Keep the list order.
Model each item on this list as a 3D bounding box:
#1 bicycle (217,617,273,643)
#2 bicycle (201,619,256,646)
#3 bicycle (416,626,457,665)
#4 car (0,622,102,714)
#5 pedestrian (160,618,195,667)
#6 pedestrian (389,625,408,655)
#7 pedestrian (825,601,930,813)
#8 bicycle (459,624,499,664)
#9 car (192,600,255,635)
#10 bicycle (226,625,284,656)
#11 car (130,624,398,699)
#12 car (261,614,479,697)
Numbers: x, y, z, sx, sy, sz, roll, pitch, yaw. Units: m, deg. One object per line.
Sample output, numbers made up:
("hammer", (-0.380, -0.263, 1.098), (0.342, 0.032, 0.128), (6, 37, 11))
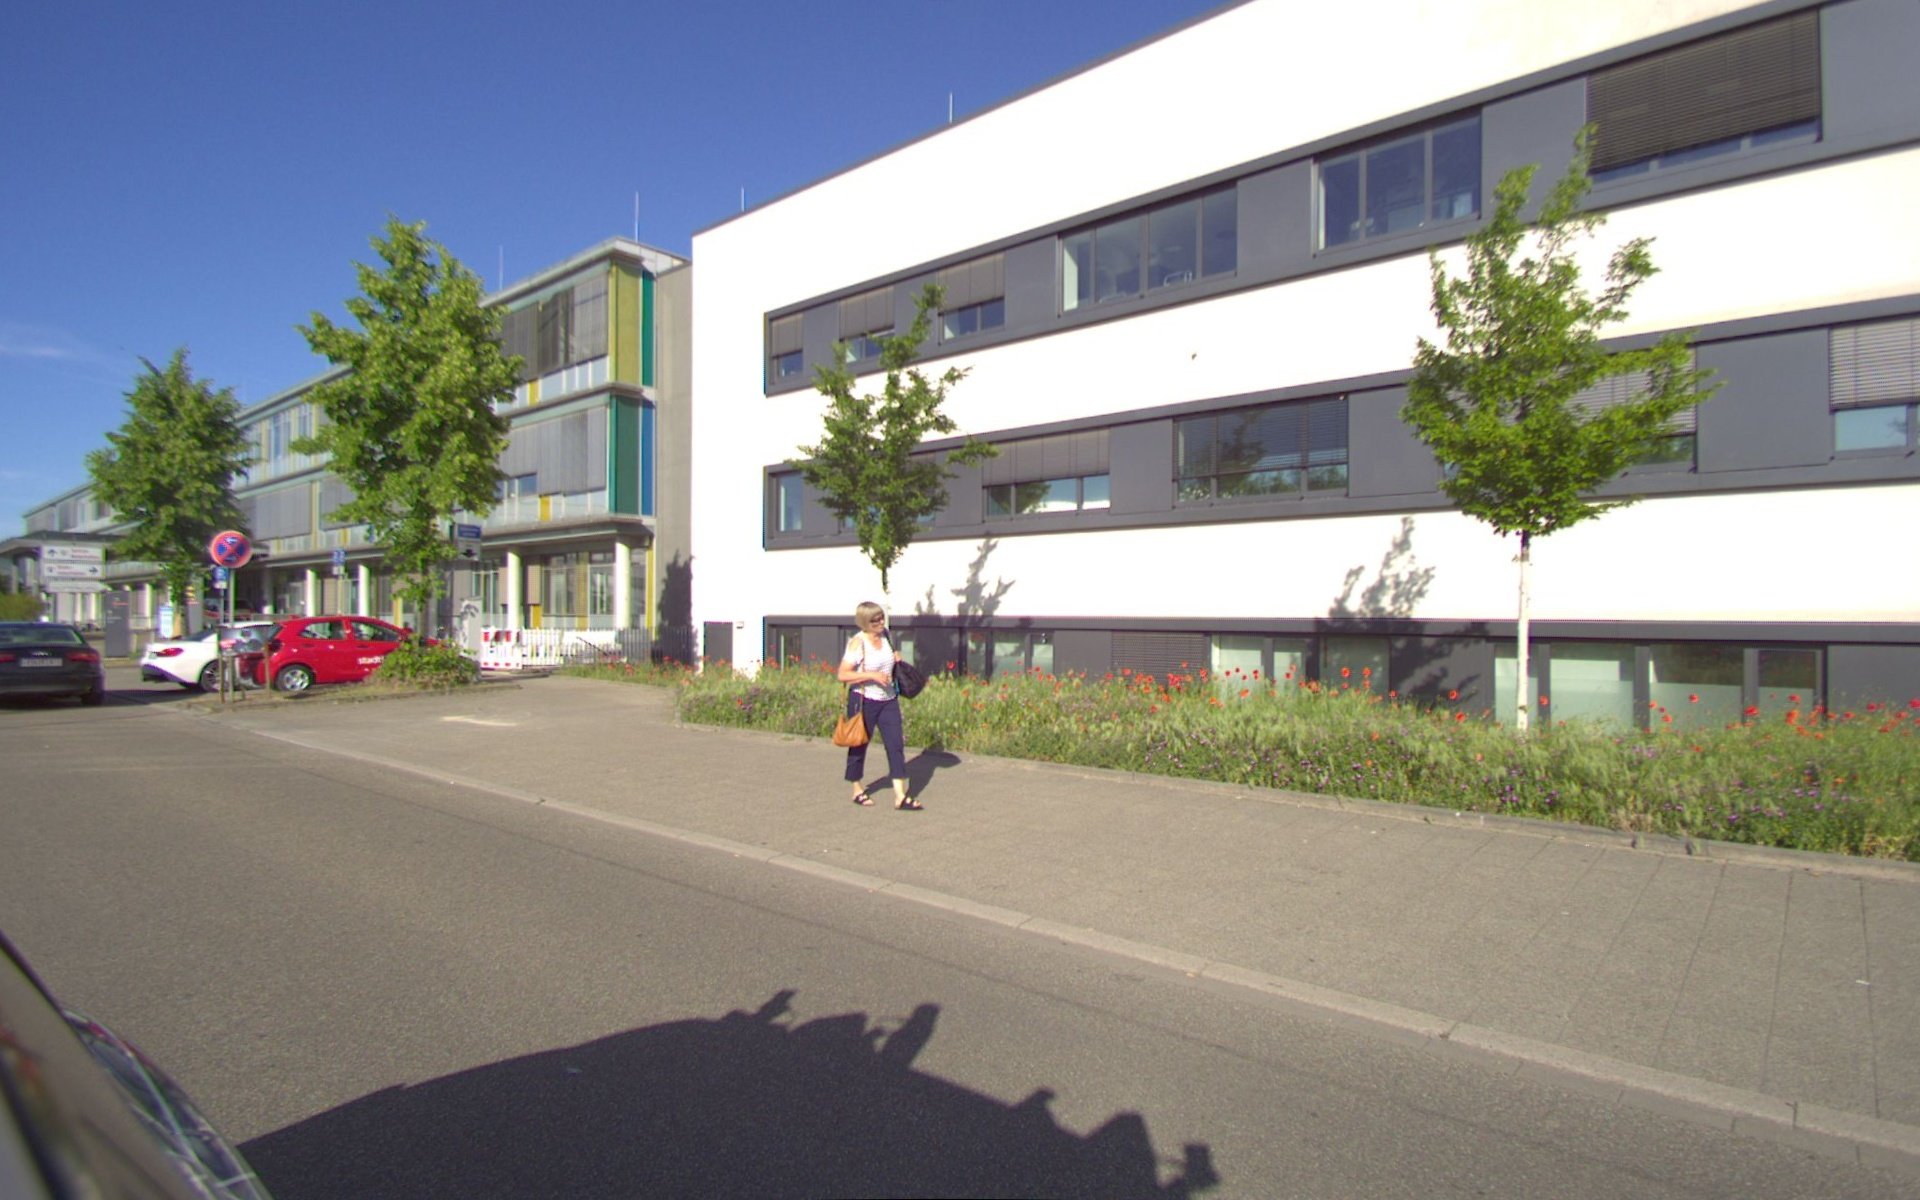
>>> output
("bicycle", (-27.676, 1.165, 39.200), (0.536, 0.981, 1.698), (-1, -2, 39))
("bicycle", (-29.162, 1.291, 40.350), (0.536, 1.063, 1.698), (-1, -2, 39))
("bicycle", (-15.556, 1.348, 30.047), (0.528, 1.120, 1.862), (1, -2, -45))
("car", (-16.641, 1.117, 17.736), (4.535, 1.453, 1.743), (-1, -2, 41))
("pedestrian", (-25.829, 1.379, 33.398), (0.780, 1.560, 0.765), (0, 1, 41))
("pedestrian", (-22.648, 1.616, 40.830), (0.556, 1.182, 0.526), (-1, -1, 42))
("pedestrian", (-0.631, 0.779, 7.738), (0.607, 1.535, 0.532), (-1, -1, 42))
("bicycle", (-14.158, 1.273, 29.757), (1.763, 1.132, 0.416), (-1, -2, 42))
("car", (-41.676, 1.032, 57.231), (4.708, 1.905, 1.899), (-1, -2, 41))
("bicycle", (-26.034, 1.477, 37.377), (1.683, 1.130, 0.537), (1, -2, -44))
("car", (-14.686, 1.224, 21.565), (1.700, 1.378, 4.462), (-1, -1, 43))
("car", (-12.021, 1.070, 20.726), (3.591, 1.480, 1.616), (-1, -1, -43))
